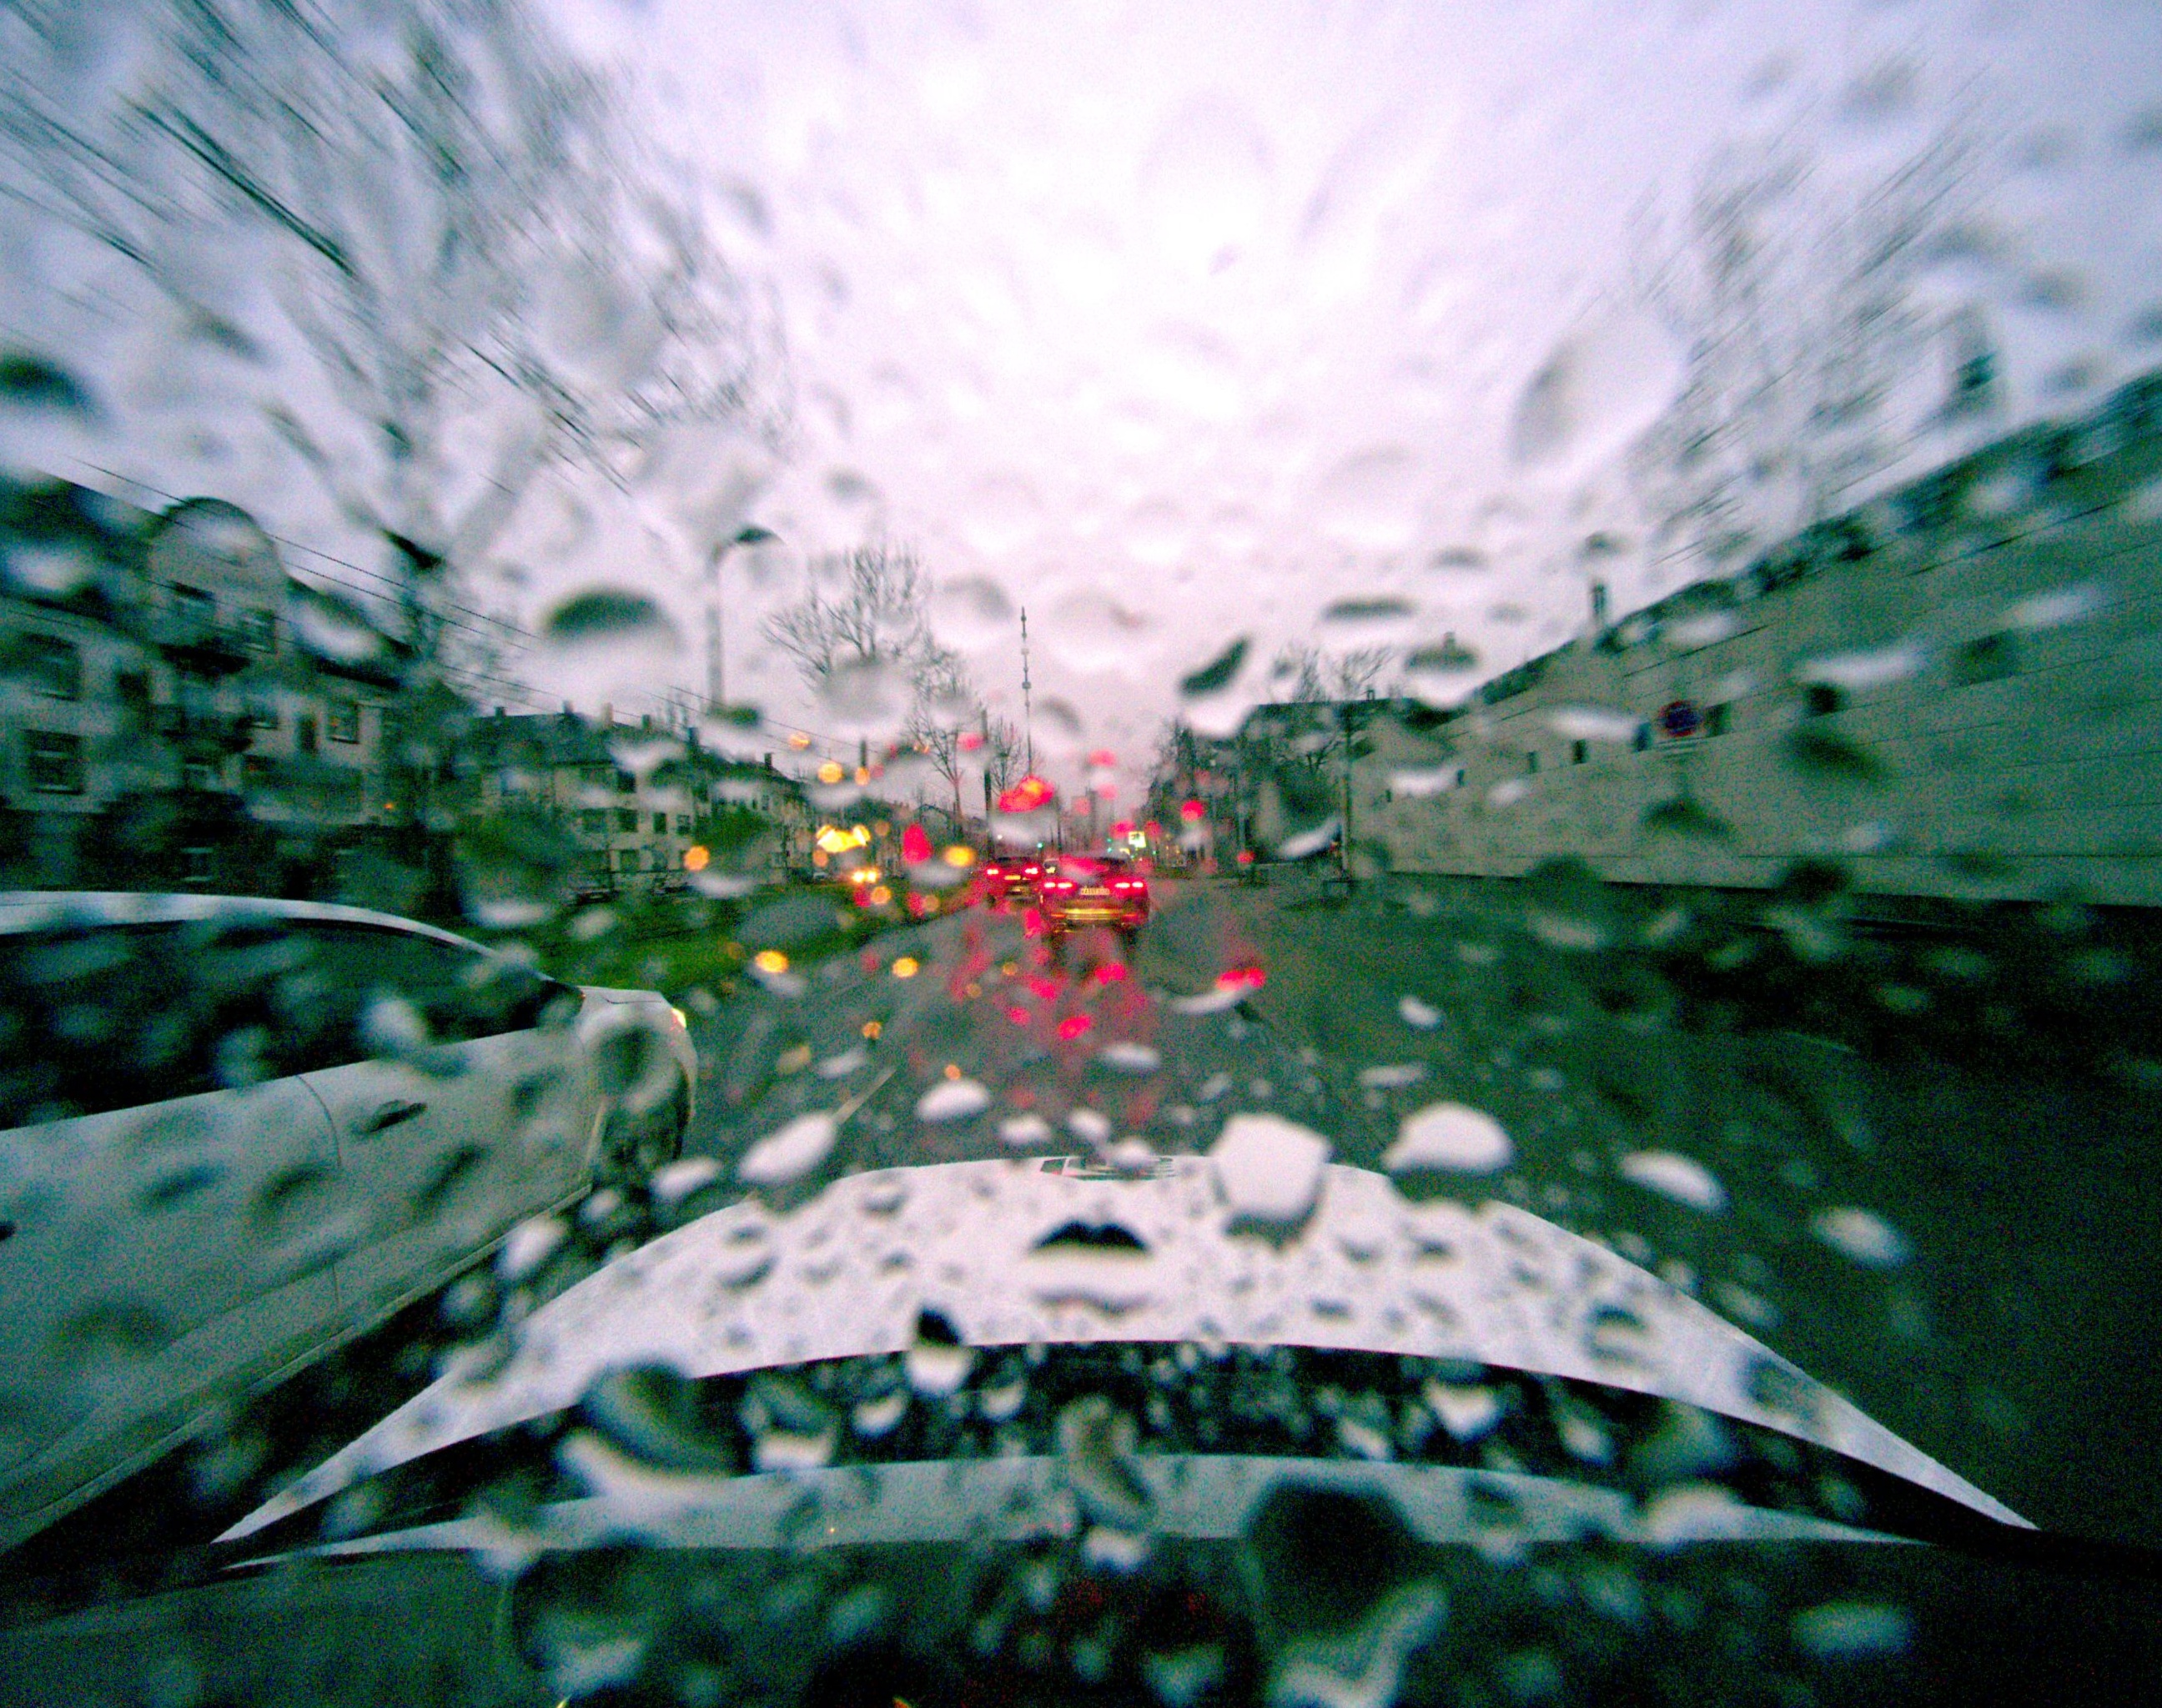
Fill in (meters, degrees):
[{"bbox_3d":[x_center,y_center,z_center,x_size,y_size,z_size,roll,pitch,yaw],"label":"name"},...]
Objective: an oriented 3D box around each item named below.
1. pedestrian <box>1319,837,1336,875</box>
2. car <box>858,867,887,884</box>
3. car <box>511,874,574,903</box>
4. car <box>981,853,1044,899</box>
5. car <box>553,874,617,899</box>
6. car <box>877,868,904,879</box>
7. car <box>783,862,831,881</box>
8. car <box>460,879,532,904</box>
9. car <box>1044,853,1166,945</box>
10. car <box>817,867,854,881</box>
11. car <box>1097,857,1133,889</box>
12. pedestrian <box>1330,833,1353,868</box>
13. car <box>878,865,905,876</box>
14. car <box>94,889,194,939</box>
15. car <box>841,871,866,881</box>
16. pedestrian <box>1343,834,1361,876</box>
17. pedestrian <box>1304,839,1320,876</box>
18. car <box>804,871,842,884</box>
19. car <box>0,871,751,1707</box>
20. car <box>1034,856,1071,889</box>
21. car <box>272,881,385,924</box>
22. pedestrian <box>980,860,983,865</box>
[{"bbox_3d":[10.488,0.080,34.664,0.667,1.612,0.617,-1,-1,15],"label":"pedestrian"},{"bbox_3d":[-19.517,2.035,76.298,1.539,1.504,3.786,-1,0,3],"label":"car"},{"bbox_3d":[-26.562,1.671,40.131,3.993,1.230,1.357,1,-1,38],"label":"car"},{"bbox_3d":[-2.303,0.717,28.175,1.812,1.450,3.999,-1,0,0],"label":"car"},{"bbox_3d":[-26.524,1.723,43.483,4.053,1.161,1.722,1,-1,41],"label":"car"},{"bbox_3d":[-23.786,2.416,101.534,2.899,1.336,1.749,-1,0,34],"label":"car"},{"bbox_3d":[-25.374,1.587,75.354,4.598,1.723,1.845,-1,0,36],"label":"car"},{"bbox_3d":[-26.092,1.654,36.309,2.881,0.989,1.806,1,-1,37],"label":"car"},{"bbox_3d":[0.444,0.755,15.213,1.986,1.483,3.701,-1,-1,2],"label":"car"},{"bbox_3d":[-24.655,2.009,81.773,3.534,1.309,1.697,-1,0,34],"label":"car"},{"bbox_3d":[1.838,1.011,44.703,1.848,1.635,3.475,-1,0,2],"label":"car"},{"bbox_3d":[12.839,-0.151,40.156,0.665,1.655,0.993,-3,-1,-3],"label":"pedestrian"},{"bbox_3d":[-24.261,2.081,104.406,3.342,1.422,1.680,-1,-1,40],"label":"car"},{"bbox_3d":[-27.789,1.721,24.252,4.212,1.258,1.844,-1,-1,42],"label":"car"},{"bbox_3d":[-24.459,2.381,87.548,2.361,1.048,1.446,-1,0,34],"label":"car"},{"bbox_3d":[11.467,0.051,34.473,0.667,1.778,0.617,-1,-1,15],"label":"pedestrian"},{"bbox_3d":[10.239,0.139,36.111,0.667,1.625,0.617,-1,-1,17],"label":"pedestrian"},{"bbox_3d":[-25.038,2.261,78.988,3.525,1.141,1.748,-1,0,34],"label":"car"},{"bbox_3d":[-2.692,0.824,2.417,1.682,1.474,4.002,-1,0,2],"label":"car"},{"bbox_3d":[-1.463,0.924,42.776,1.683,1.635,3.475,-1,0,2],"label":"car"},{"bbox_3d":[-26.912,1.696,29.140,3.321,1.418,1.888,-1,-2,27],"label":"car"},{"bbox_3d":[-23.032,1.998,188.194,0.348,1.184,0.429,0,-1,-39],"label":"pedestrian"}]
